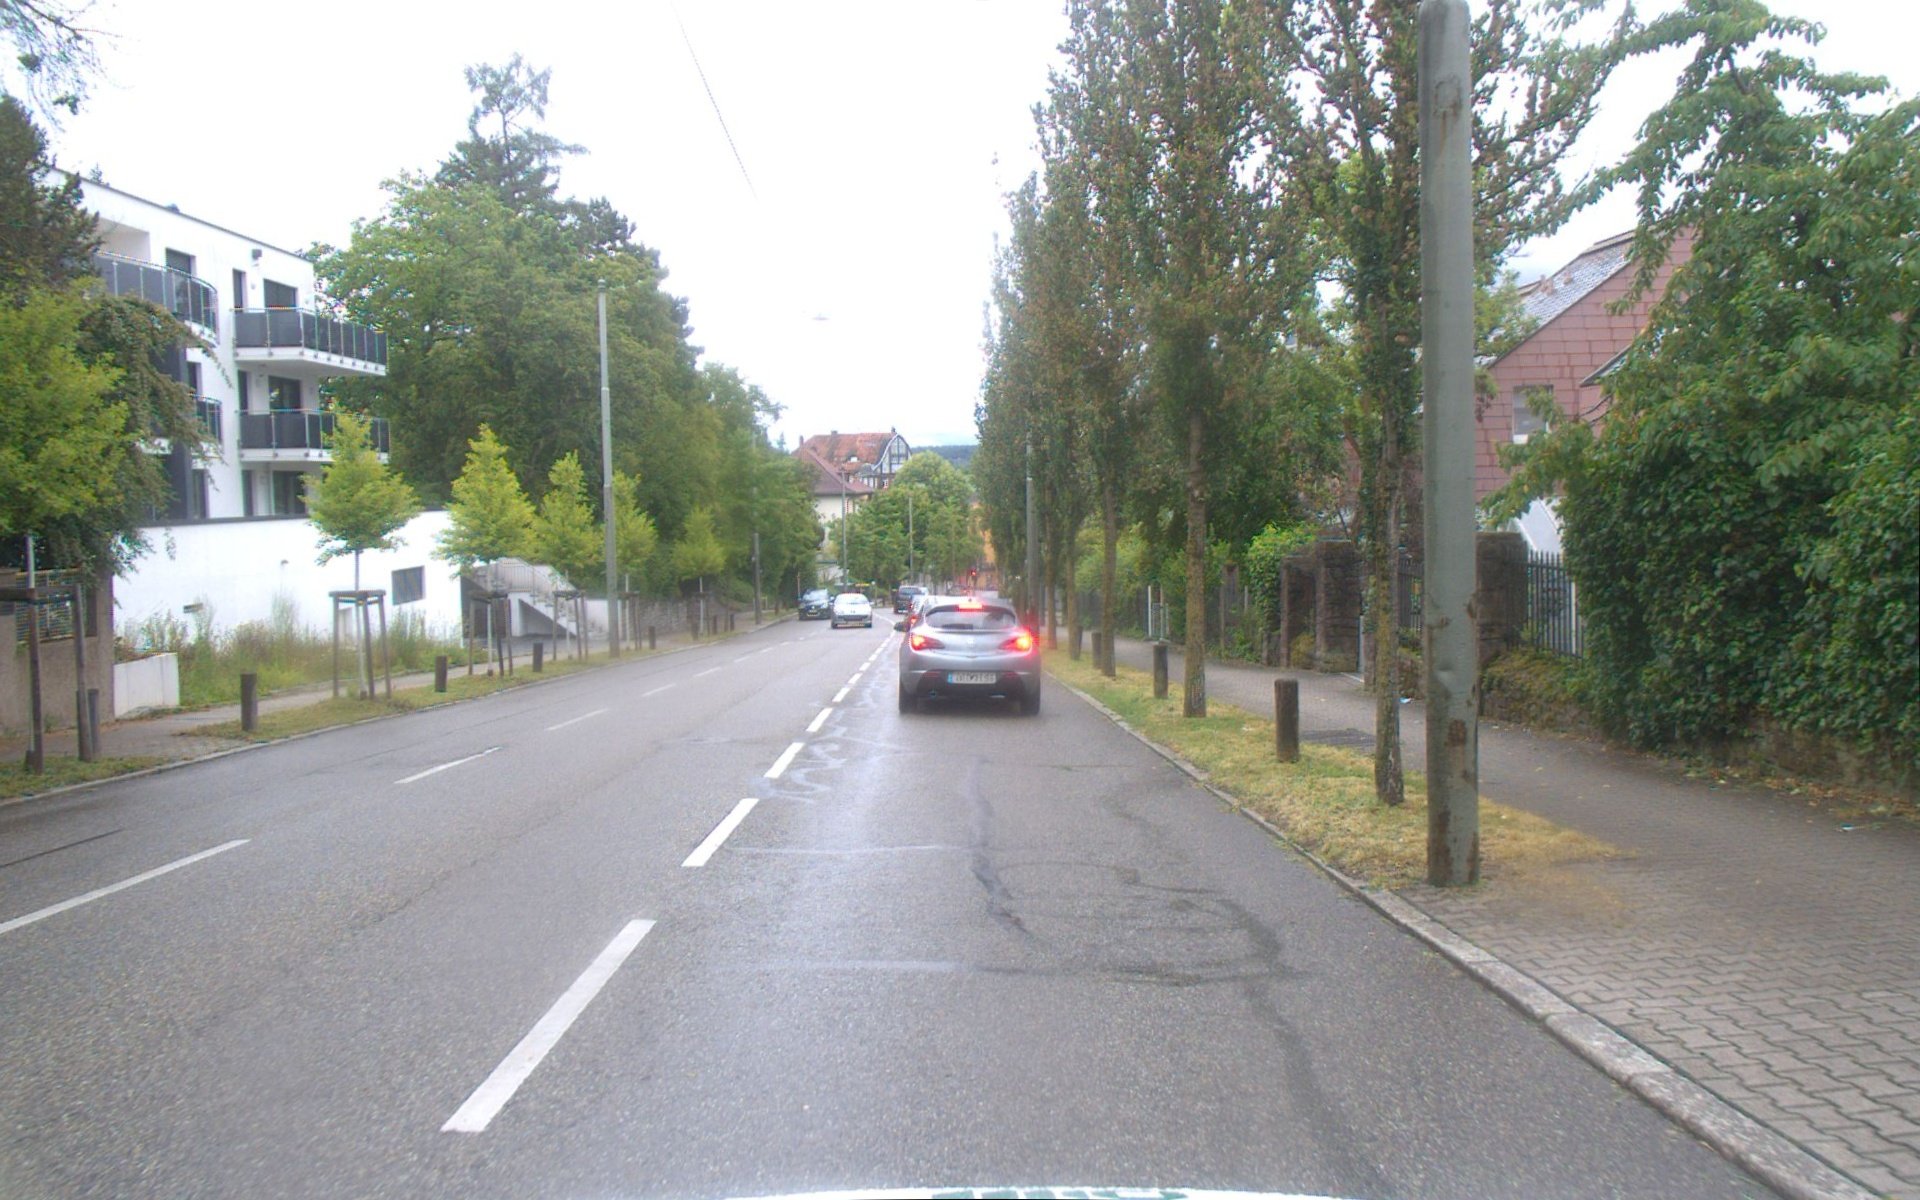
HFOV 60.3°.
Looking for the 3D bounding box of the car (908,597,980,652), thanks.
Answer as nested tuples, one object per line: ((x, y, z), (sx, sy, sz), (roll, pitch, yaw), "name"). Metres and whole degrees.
((-0.385, 0.603, 43.439), (1.760, 1.346, 4.000), (1, 0, 1), "car")

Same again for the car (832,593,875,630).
((-4.554, 0.492, 71.264), (1.726, 1.512, 3.998), (-1, 0, -3), "car")

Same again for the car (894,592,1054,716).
((0.137, 0.666, 22.008), (1.906, 1.457, 3.883), (1, 0, -1), "car")

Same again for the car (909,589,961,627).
((-1.077, 0.342, 73.680), (1.920, 1.497, 3.953), (3, 1, 4), "car")

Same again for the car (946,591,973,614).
((-0.022, 0.201, 132.163), (1.717, 1.679, 4.002), (3, 0, 4), "car")

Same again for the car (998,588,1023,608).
((5.649, -0.219, 185.531), (2.285, 2.071, 4.739), (3, 1, 6), "car")

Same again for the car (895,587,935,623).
((-2.441, 0.261, 90.740), (1.731, 1.812, 3.979), (3, 1, 4), "car")

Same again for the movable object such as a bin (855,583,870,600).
((-8.676, -0.758, 147.660), (1.245, 1.411, 0.489), (1, 1, 4), "movable object such as a bin")

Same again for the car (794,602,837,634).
((-7.321, 0.911, 84.170), (1.709, 1.576, 3.918), (-2, 0, 1), "car")
